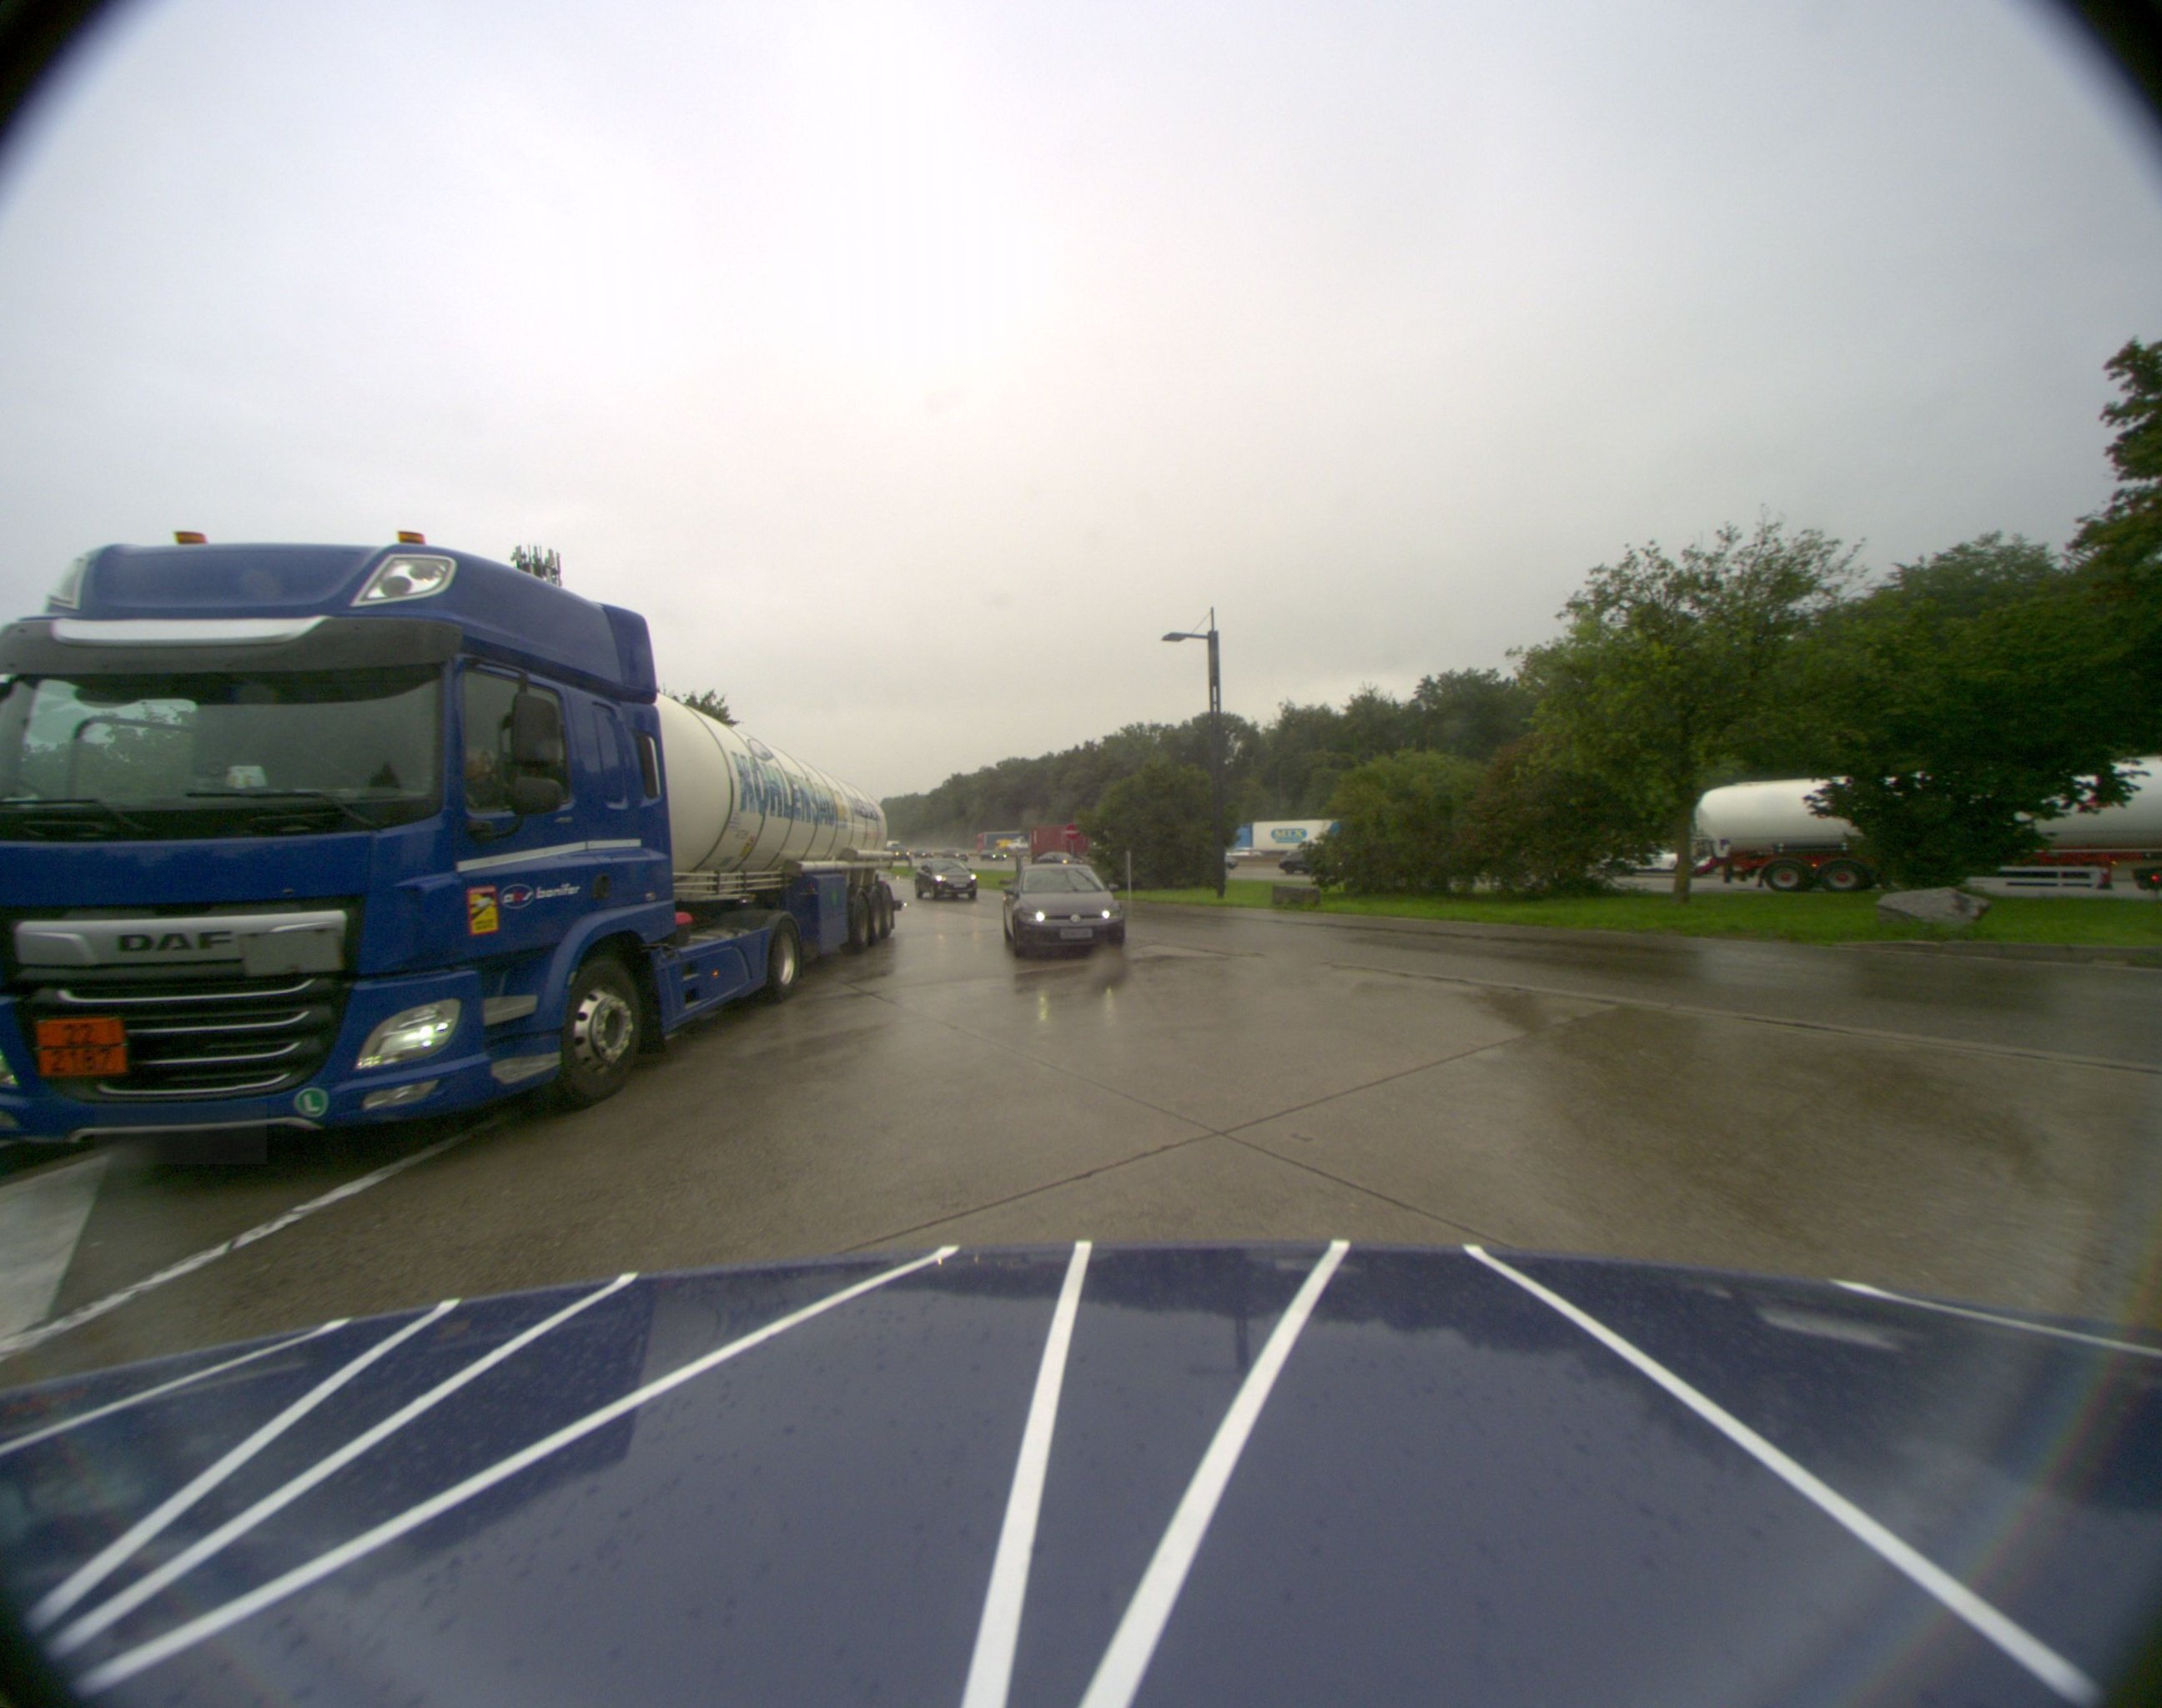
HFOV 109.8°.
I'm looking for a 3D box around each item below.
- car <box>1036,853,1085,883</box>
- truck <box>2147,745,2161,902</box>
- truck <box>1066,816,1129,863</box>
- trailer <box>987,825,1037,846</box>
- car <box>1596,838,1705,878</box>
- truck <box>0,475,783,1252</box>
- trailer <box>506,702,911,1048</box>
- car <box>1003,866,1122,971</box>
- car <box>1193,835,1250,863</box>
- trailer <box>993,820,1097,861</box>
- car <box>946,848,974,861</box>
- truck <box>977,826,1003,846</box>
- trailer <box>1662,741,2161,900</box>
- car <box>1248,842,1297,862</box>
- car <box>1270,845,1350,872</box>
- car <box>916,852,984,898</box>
[{"bbox_3d":[-1.695,1.090,61.268,1.921,2.004,3.988,-10,7,-33],"label":"car"},{"bbox_3d":[30.346,-0.788,17.586,2.764,3.985,6.490,-1,1,-36],"label":"truck"},{"bbox_3d":[1.365,-1.266,65.566,2.701,3.637,5.311,-6,4,-32],"label":"truck"},{"bbox_3d":[-12.227,-3.169,132.553,2.200,3.479,13.097,-7,4,-35],"label":"trailer"},{"bbox_3d":[28.934,0.219,38.684,2.009,1.864,3.990,-2,1,-34],"label":"car"},{"bbox_3d":[-4.220,0.009,5.876,2.059,3.511,4.743,-2,1,-4],"label":"truck"},{"bbox_3d":[-4.666,0.145,12.367,1.986,3.206,10.316,-2,1,-4],"label":"trailer"},{"bbox_3d":[-0.281,0.977,13.188,1.670,1.394,4.261,-2,0,0],"label":"car"},{"bbox_3d":[10.886,-0.396,59.073,2.003,2.002,4.101,-3,2,-33],"label":"car"},{"bbox_3d":[-3.838,-1.314,73.626,2.695,3.487,15.085,-6,4,-32],"label":"trailer"},{"bbox_3d":[-15.572,0.119,97.608,1.792,1.550,4.088,-2,0,-36],"label":"car"},{"bbox_3d":[-16.672,-3.283,138.817,2.200,3.491,5.154,-7,5,-35],"label":"truck"},{"bbox_3d":[25.436,-0.886,23.921,2.776,4.003,11.011,-2,1,-38],"label":"trailer"},{"bbox_3d":[17.379,-0.152,69.002,1.824,1.638,3.989,-2,0,-38],"label":"car"},{"bbox_3d":[14.068,0.280,46.930,2.004,1.568,4.491,0,-1,-34],"label":"car"},{"bbox_3d":[-5.585,0.825,32.043,1.813,1.533,3.991,-6,4,-23],"label":"car"}]
